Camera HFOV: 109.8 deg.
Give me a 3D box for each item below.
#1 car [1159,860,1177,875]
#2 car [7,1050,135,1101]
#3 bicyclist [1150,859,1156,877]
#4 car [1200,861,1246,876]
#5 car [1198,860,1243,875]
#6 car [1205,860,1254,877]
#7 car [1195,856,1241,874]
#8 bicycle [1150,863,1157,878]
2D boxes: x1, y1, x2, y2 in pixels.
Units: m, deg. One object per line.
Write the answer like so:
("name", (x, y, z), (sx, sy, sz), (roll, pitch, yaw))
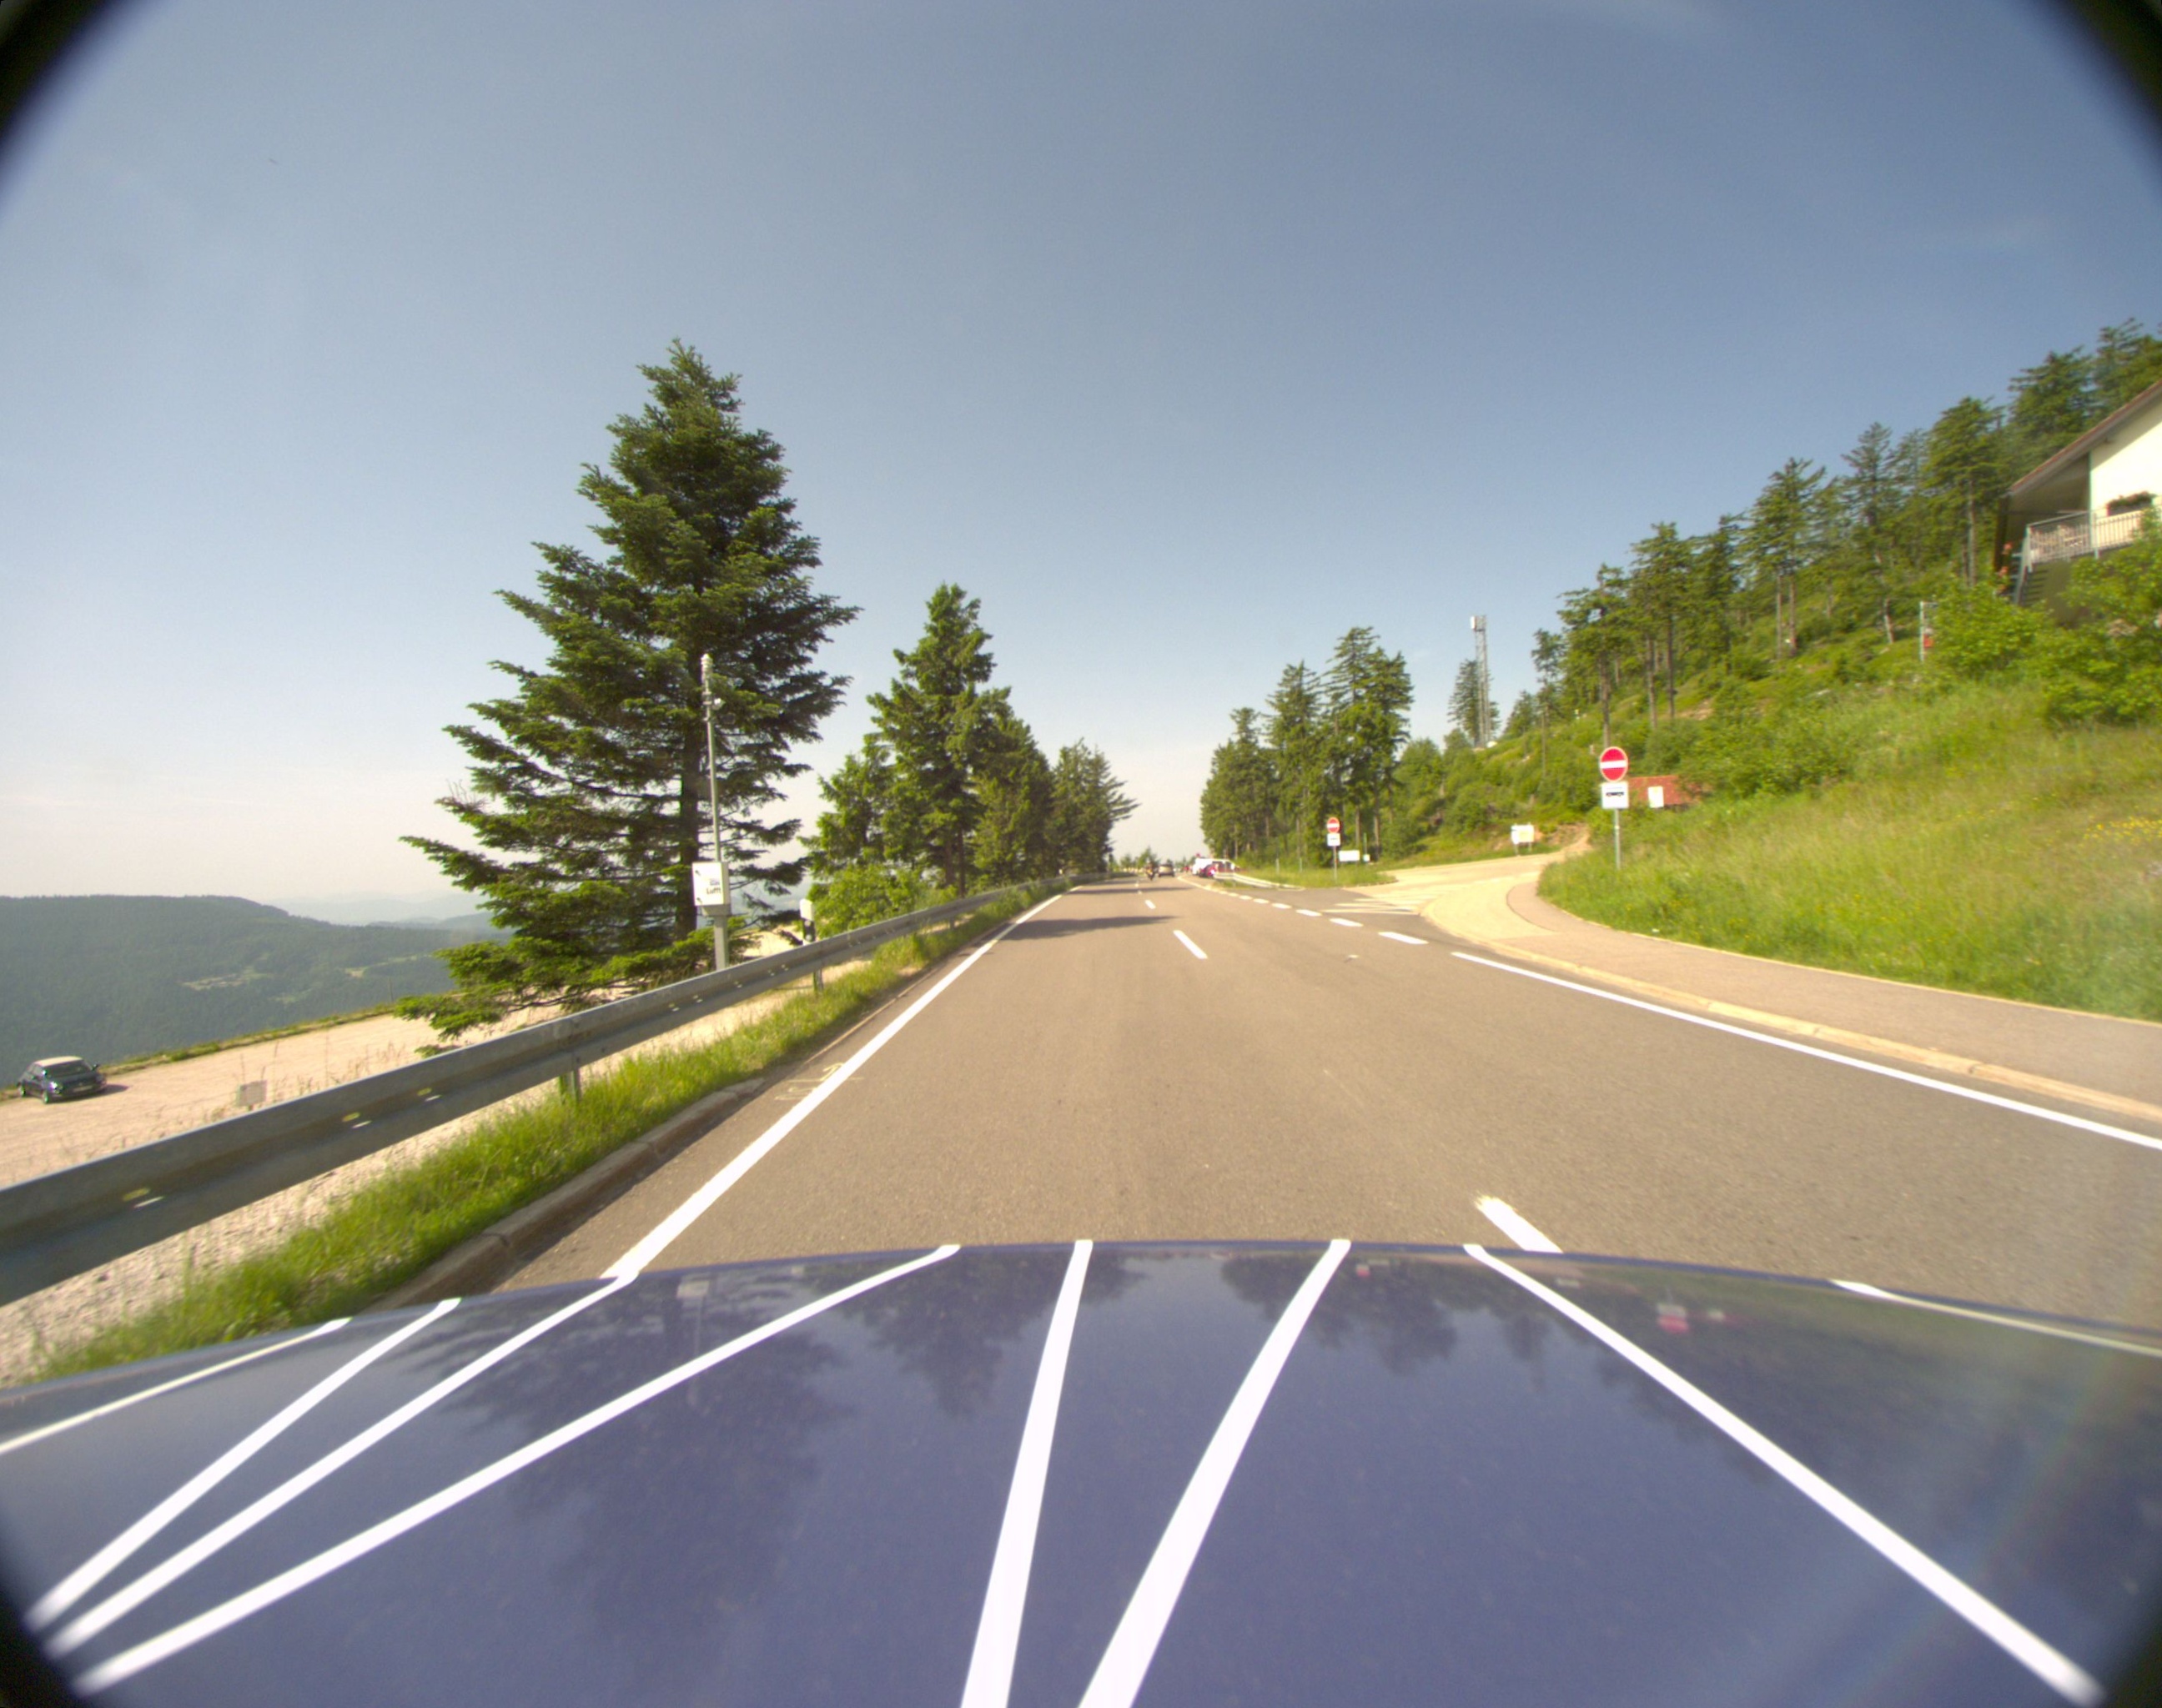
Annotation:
("car", (10.034, 1.506, 87.585), (1.997, 1.586, 4.002), (-1, 0, 8))
("car", (-43.016, 9.405, 32.388), (3.518, 1.656, 1.803), (-2, 0, 9))
("bicyclist", (6.161, 1.229, 65.013), (0.546, 1.519, 0.679), (-1, 0, 5))
("car", (13.226, 1.355, 71.035), (3.928, 1.365, 1.932), (0, 0, 1))
("car", (14.400, 1.397, 78.562), (4.242, 1.516, 1.932), (0, 0, 1))
("car", (13.353, 1.301, 68.378), (4.158, 1.501, 1.933), (0, 0, 6))
("car", (14.784, 1.199, 82.272), (4.728, 1.871, 1.932), (0, 0, 1))
("bicycle", (6.162, 1.382, 64.916), (0.546, 1.220, 1.859), (-1, 0, 5))
